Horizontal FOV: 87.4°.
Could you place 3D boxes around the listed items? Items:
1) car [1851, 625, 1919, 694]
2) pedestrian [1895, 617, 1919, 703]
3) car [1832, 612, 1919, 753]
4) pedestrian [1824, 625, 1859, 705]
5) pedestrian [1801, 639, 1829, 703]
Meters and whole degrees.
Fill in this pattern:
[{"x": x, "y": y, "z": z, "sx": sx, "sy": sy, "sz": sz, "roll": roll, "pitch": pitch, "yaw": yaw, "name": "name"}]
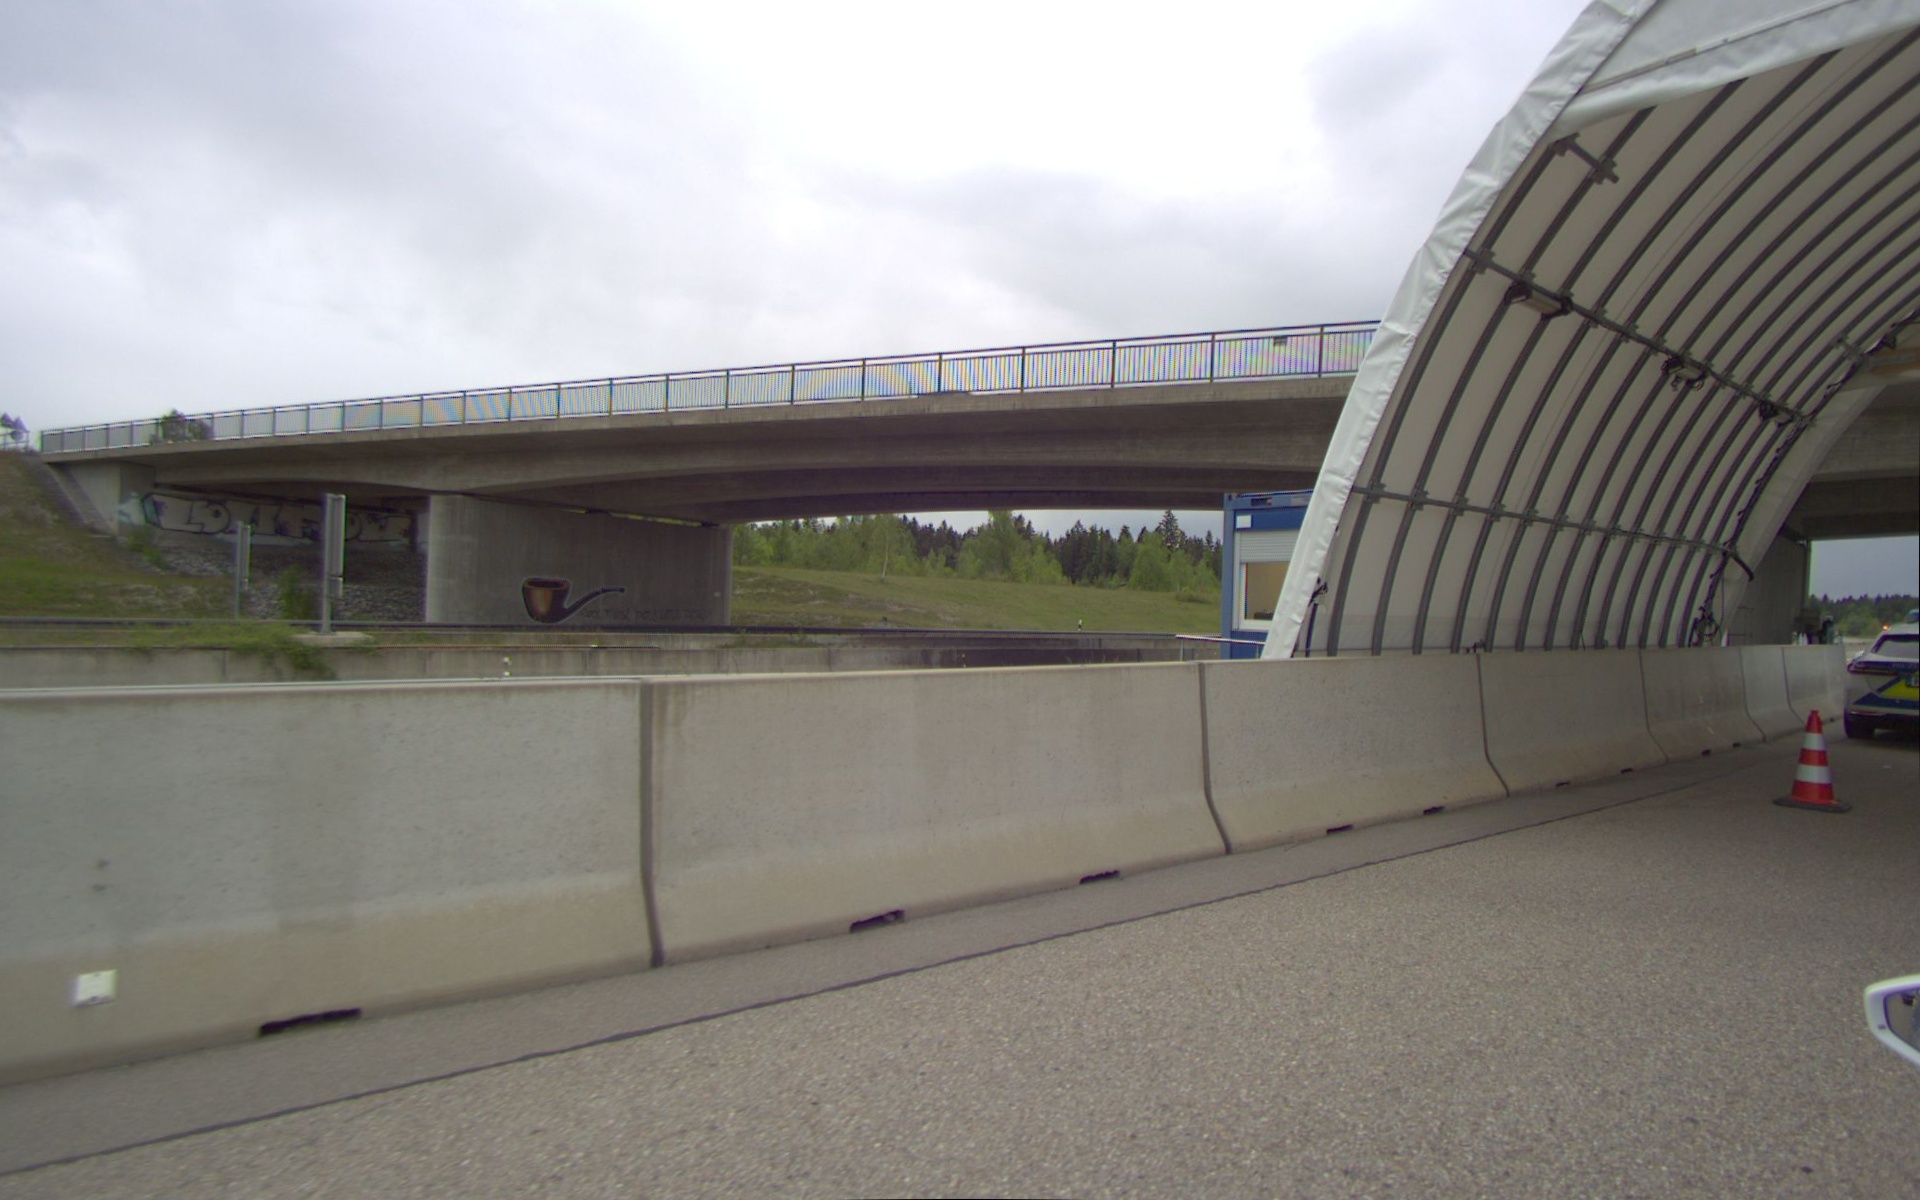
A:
[{"x": 29.508, "y": 1.788, "z": 29.468, "sx": 1.812, "sy": 2.040, "sz": 4.803, "roll": 1, "pitch": -1, "yaw": -18, "name": "car"}, {"x": 23.086, "y": 1.431, "z": 24.144, "sx": 0.683, "sy": 2.040, "sz": 0.698, "roll": 2, "pitch": -1, "yaw": -26, "name": "pedestrian"}, {"x": 12.936, "y": 1.033, "z": 13.052, "sx": 3.968, "sy": 1.668, "sz": 1.862, "roll": 2, "pitch": -2, "yaw": -40, "name": "car"}, {"x": 23.122, "y": 1.688, "z": 26.348, "sx": 0.651, "sy": 2.040, "sz": 0.618, "roll": 2, "pitch": -1, "yaw": -42, "name": "pedestrian"}, {"x": 21.351, "y": 1.753, "z": 25.075, "sx": 0.497, "sy": 1.567, "sz": 0.460, "roll": 0, "pitch": -1, "yaw": 45, "name": "pedestrian"}]
